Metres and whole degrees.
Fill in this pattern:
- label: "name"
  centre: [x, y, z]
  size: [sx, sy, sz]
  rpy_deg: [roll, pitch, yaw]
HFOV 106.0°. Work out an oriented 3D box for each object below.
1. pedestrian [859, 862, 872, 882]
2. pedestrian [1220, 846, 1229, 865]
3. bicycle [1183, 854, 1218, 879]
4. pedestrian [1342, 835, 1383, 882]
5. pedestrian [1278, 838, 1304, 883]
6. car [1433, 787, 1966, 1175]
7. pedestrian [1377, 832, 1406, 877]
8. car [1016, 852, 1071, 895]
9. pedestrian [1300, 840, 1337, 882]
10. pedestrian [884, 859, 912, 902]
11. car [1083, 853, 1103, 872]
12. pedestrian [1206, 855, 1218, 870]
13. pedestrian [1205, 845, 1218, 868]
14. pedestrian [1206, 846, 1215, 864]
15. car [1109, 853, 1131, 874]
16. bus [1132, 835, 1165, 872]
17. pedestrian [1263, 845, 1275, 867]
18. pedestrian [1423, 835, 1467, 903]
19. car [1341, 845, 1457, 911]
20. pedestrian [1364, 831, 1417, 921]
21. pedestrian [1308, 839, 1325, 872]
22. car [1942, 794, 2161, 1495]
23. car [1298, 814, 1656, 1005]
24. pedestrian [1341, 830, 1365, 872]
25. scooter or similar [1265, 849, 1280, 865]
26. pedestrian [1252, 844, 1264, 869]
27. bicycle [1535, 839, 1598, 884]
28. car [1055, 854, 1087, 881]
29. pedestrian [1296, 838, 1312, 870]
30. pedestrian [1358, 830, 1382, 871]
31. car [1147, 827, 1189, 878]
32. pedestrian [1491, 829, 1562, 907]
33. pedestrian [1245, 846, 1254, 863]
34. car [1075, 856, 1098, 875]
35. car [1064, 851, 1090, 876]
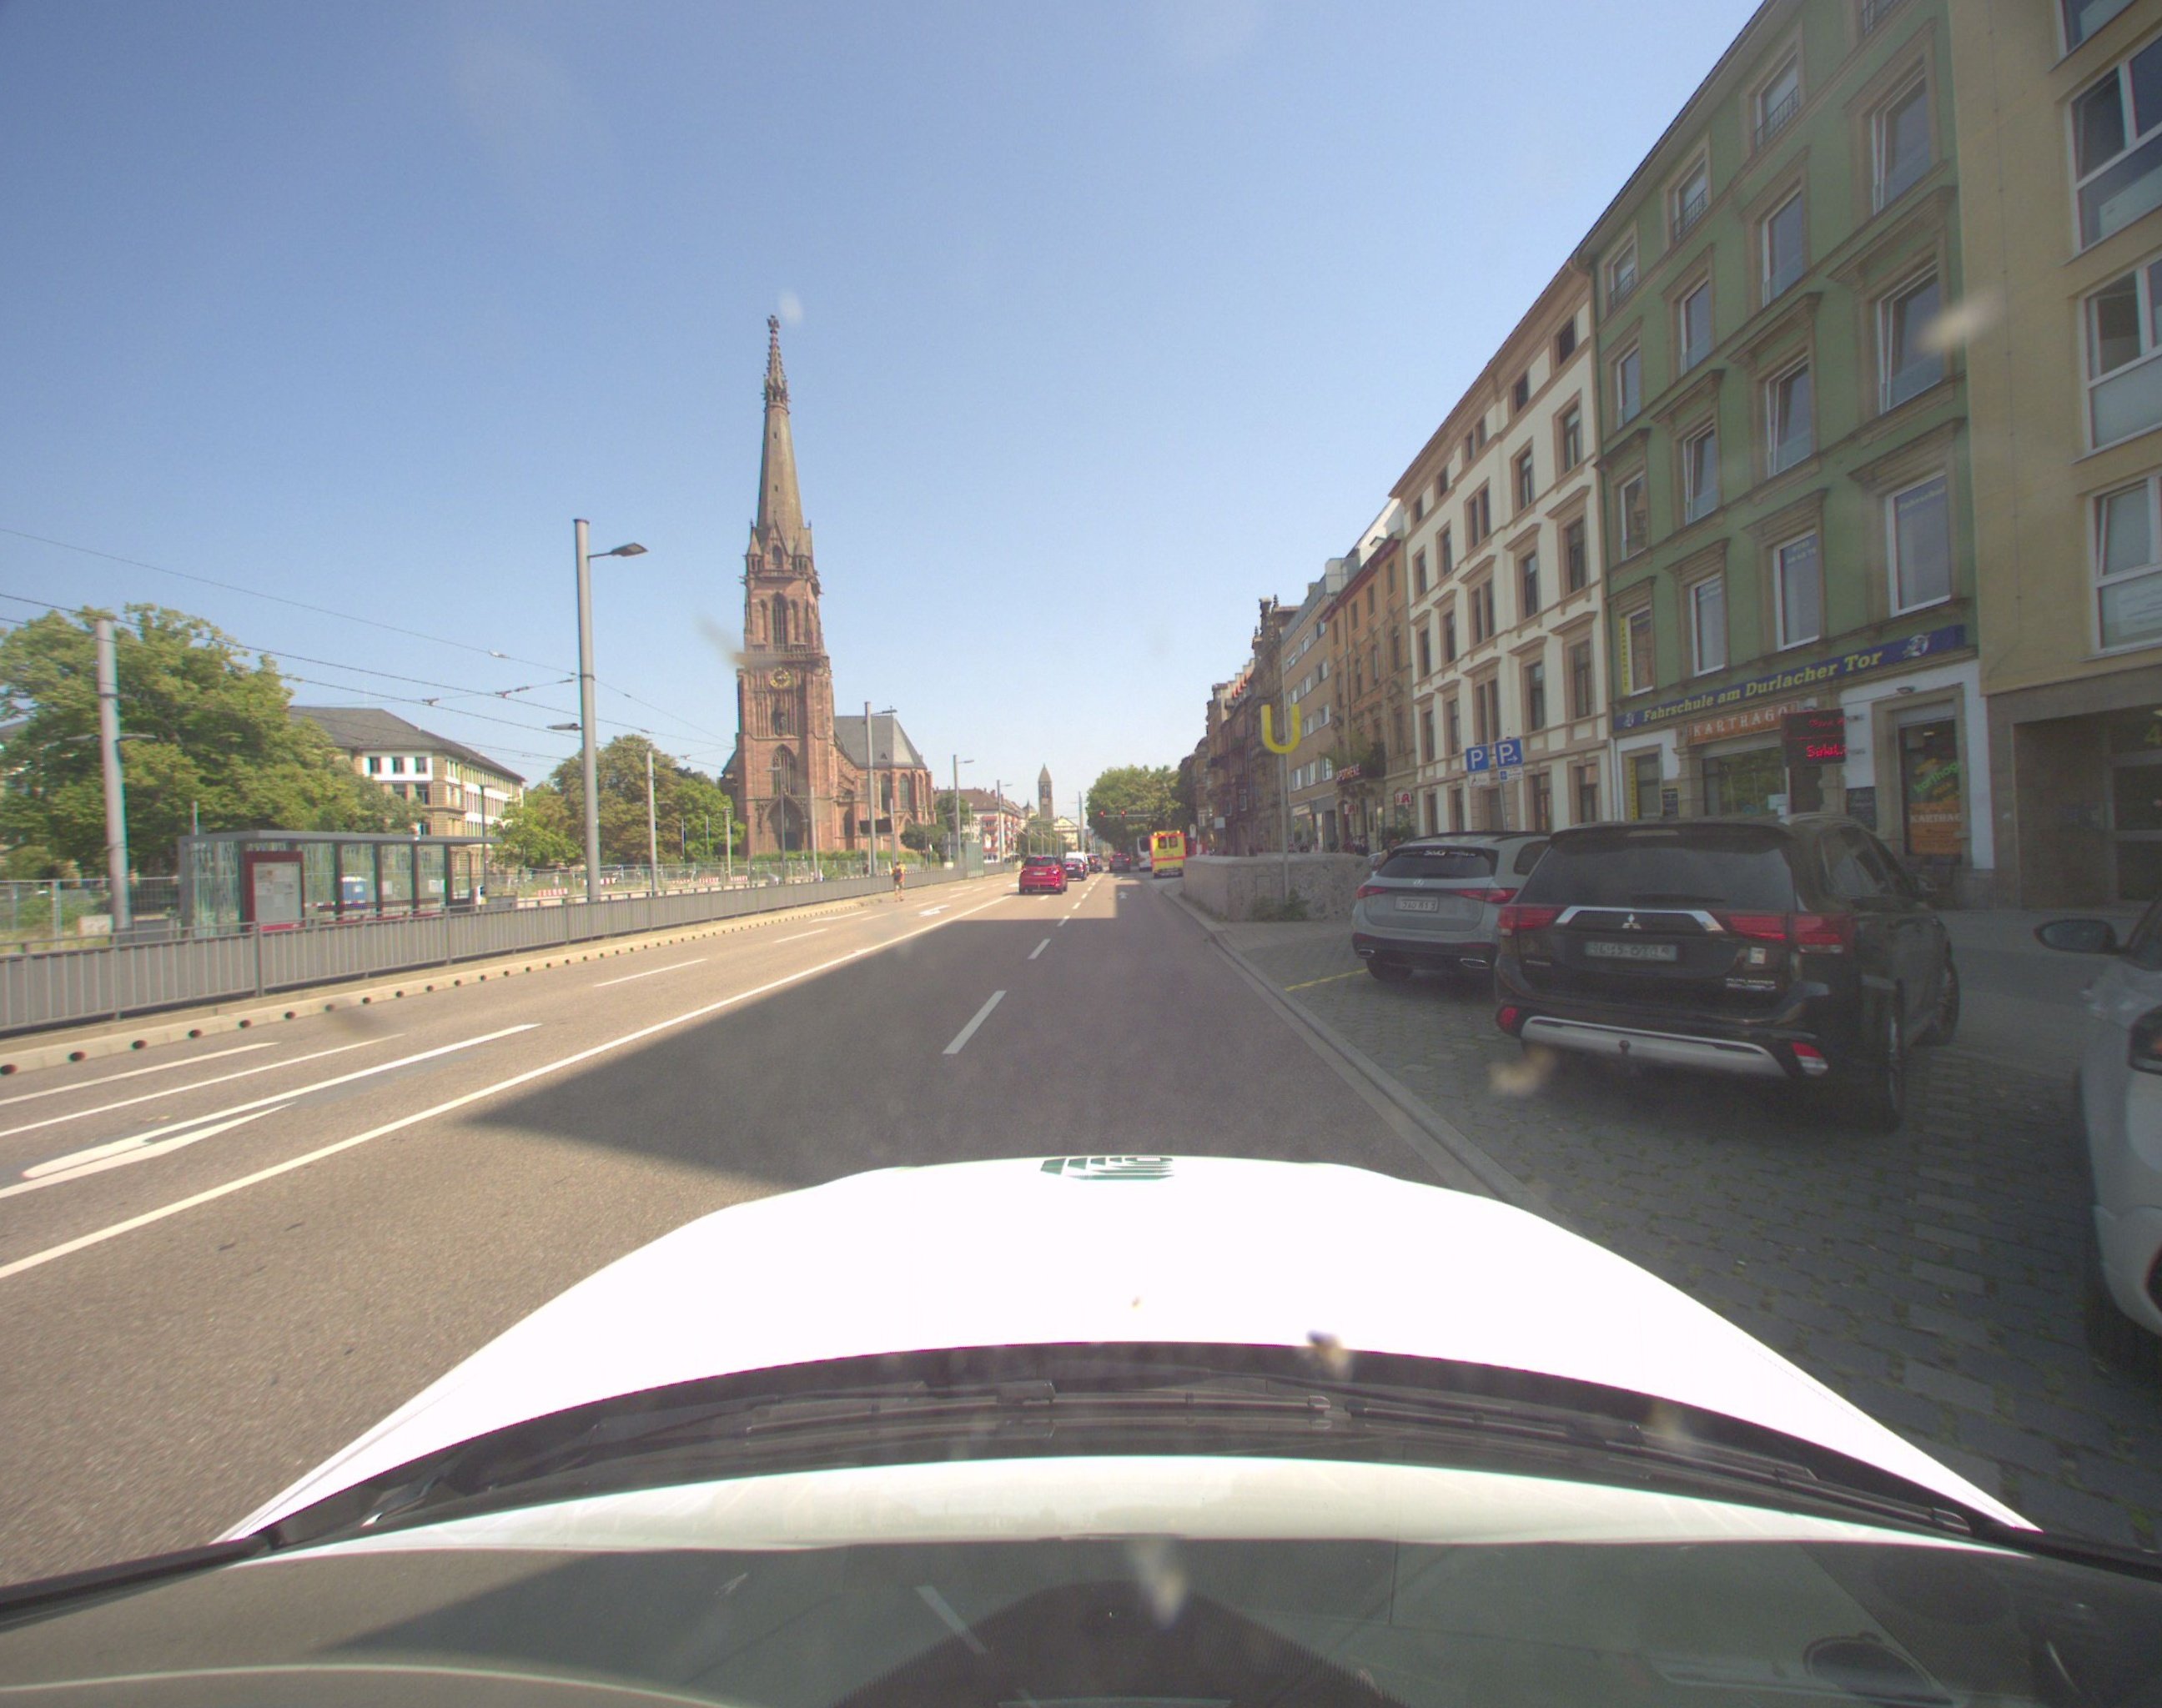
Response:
- label: "pedestrian"
  centre: [-18.928, 1.583, 71.428]
  size: [0.825, 1.752, 0.721]
  rpy_deg: [-3, -1, 3]
- label: "pedestrian"
  centre: [13.024, 0.112, 73.839]
  size: [0.693, 1.667, 0.603]
  rpy_deg: [-2, 0, 4]
- label: "bicycle"
  centre: [5.966, 0.626, 40.746]
  size: [1.664, 1.215, 0.645]
  rpy_deg: [-2, 0, 7]
- label: "pedestrian"
  centre: [9.820, 0.168, 28.382]
  size: [0.855, 1.582, 0.961]
  rpy_deg: [-2, -1, -31]
- label: "pedestrian"
  centre: [8.585, 0.252, 33.347]
  size: [0.845, 1.728, 0.974]
  rpy_deg: [-4, 2, 9]
- label: "car"
  centre: [4.545, 0.499, 5.710]
  size: [4.415, 1.687, 1.963]
  rpy_deg: [-3, 0, -40]
- label: "pedestrian"
  centre: [13.204, 0.029, 34.634]
  size: [0.840, 1.846, 0.685]
  rpy_deg: [-4, 0, -7]
- label: "car"
  centre: [-1.520, 0.780, 34.230]
  size: [1.754, 1.618, 4.087]
  rpy_deg: [-3, 0, 4]
- label: "pedestrian"
  centre: [9.220, 0.285, 31.626]
  size: [0.855, 1.582, 0.961]
  rpy_deg: [-2, -1, -31]
- label: "pedestrian"
  centre: [-7.801, 1.117, 34.751]
  size: [0.756, 1.752, 1.072]
  rpy_deg: [-3, -1, 10]
- label: "car"
  centre: [1.141, 0.811, 77.771]
  size: [1.783, 1.698, 4.001]
  rpy_deg: [-2, -1, 1]
- label: "pedestrian"
  centre: [16.260, 1.108, 101.353]
  size: [1.244, 1.751, 1.527]
  rpy_deg: [-3, 2, 3]
- label: "pedestrian"
  centre: [9.700, 0.189, 60.515]
  size: [0.690, 1.667, 0.606]
  rpy_deg: [-2, 0, 28]
- label: "pedestrian"
  centre: [12.907, 0.099, 81.265]
  size: [0.693, 1.667, 1.066]
  rpy_deg: [-2, 0, 4]
- label: "car"
  centre: [3.391, 0.830, 71.344]
  size: [1.783, 1.677, 4.001]
  rpy_deg: [-2, -1, 1]
- label: "bus"
  centre: [6.154, -0.030, 75.672]
  size: [2.523, 3.032, 12.444]
  rpy_deg: [-3, 0, 3]
- label: "pedestrian"
  centre: [12.968, 0.166, 56.205]
  size: [0.641, 1.493, 0.790]
  rpy_deg: [-3, 0, 2]
- label: "pedestrian"
  centre: [9.449, 0.373, 21.163]
  size: [0.668, 1.685, 0.943]
  rpy_deg: [-3, 0, 2]
- label: "car"
  centre: [7.941, 0.544, 20.651]
  size: [1.624, 1.440, 3.622]
  rpy_deg: [-3, 1, 2]
- label: "pedestrian"
  centre: [6.276, 0.419, 16.516]
  size: [0.857, 1.751, 0.878]
  rpy_deg: [1, 2, 30]
- label: "pedestrian"
  centre: [13.074, 0.090, 45.173]
  size: [0.597, 1.795, 0.880]
  rpy_deg: [-5, -1, 2]
- label: "car"
  centre: [4.145, 0.604, 2.478]
  size: [3.804, 1.500, 1.787]
  rpy_deg: [-1, 1, -39]
- label: "car"
  centre: [4.874, 0.462, 9.710]
  size: [4.690, 1.713, 2.020]
  rpy_deg: [-3, 0, -40]
- label: "pedestrian"
  centre: [11.958, -0.129, 35.864]
  size: [0.681, 1.773, 1.018]
  rpy_deg: [-3, 1, 2]
- label: "scooter or similar"
  centre: [14.895, 0.227, 63.222]
  size: [0.513, 1.196, 1.297]
  rpy_deg: [-2, 0, -17]
- label: "pedestrian"
  centre: [12.210, 0.153, 56.230]
  size: [0.641, 1.685, 0.790]
  rpy_deg: [-3, 0, 2]
- label: "bicycle"
  centre: [13.880, 0.184, 23.374]
  size: [0.478, 1.146, 2.475]
  rpy_deg: [-2, 2, 5]
- label: "car"
  centre: [-0.561, 0.792, 49.541]
  size: [1.784, 1.431, 4.001]
  rpy_deg: [-3, 0, 1]
- label: "pedestrian"
  centre: [12.347, 0.011, 45.147]
  size: [0.575, 1.750, 0.679]
  rpy_deg: [-5, -1, 2]
- label: "pedestrian"
  centre: [12.687, -0.157, 35.764]
  size: [0.681, 1.773, 1.018]
  rpy_deg: [-3, 1, 2]
- label: "car"
  centre: [5.453, -0.098, 50.799]
  size: [2.287, 2.888, 5.609]
  rpy_deg: [-4, 0, 6]
- label: "pedestrian"
  centre: [9.402, 0.294, 17.198]
  size: [0.855, 1.582, 0.961]
  rpy_deg: [-2, -1, -31]
- label: "pedestrian"
  centre: [16.129, 0.010, 77.782]
  size: [0.621, 1.593, 0.695]
  rpy_deg: [-3, 0, -3]
- label: "car"
  centre: [0.510, 0.979, 69.649]
  size: [1.783, 1.472, 4.001]
  rpy_deg: [-2, -1, 1]
- label: "car"
  centre: [-0.305, 0.732, 61.830]
  size: [1.783, 1.780, 4.001]
  rpy_deg: [-2, -1, 1]
